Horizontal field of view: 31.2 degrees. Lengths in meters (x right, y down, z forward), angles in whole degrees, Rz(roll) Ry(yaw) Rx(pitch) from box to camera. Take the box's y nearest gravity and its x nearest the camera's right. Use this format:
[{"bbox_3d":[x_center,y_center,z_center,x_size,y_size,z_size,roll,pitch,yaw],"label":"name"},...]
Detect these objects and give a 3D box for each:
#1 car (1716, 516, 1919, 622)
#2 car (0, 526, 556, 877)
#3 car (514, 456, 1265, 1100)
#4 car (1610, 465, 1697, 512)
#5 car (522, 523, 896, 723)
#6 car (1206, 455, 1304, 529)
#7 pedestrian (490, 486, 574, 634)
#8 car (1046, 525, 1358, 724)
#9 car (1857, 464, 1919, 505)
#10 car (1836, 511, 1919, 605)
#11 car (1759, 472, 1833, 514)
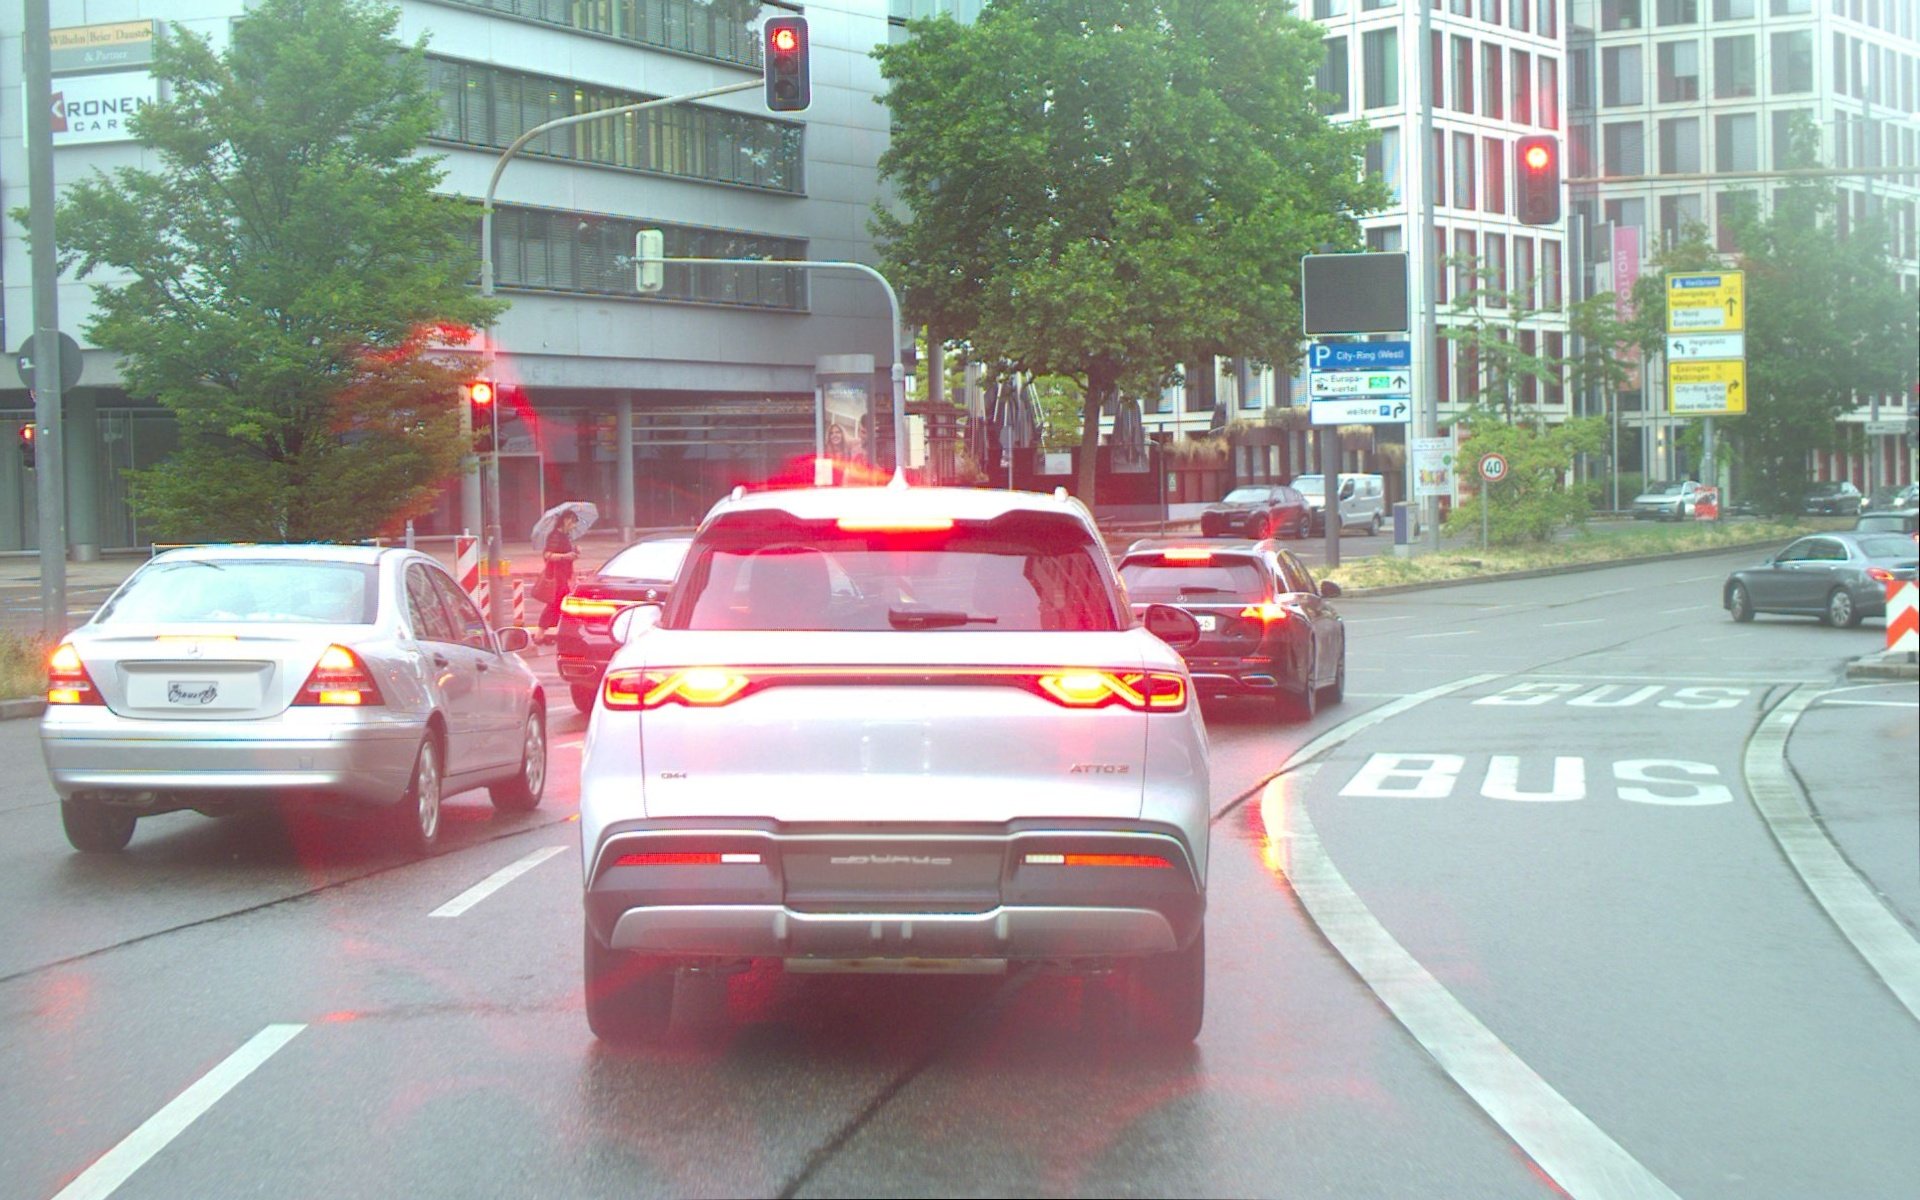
[{"bbox_3d":[13.531,-0.504,52.690,1.909,1.505,4.358,0,2,-16],"label":"car"},{"bbox_3d":[-3.214,0.396,16.913,1.682,1.481,4.196,0,2,4],"label":"car"},{"bbox_3d":[-0.217,0.416,11.424,1.993,1.703,4.483,0,2,-1],"label":"car"},{"bbox_3d":[26.471,-4.270,131.223,1.997,1.700,4.302,1,4,30],"label":"car"},{"bbox_3d":[-1.992,0.127,28.512,1.956,1.525,3.998,0,1,14],"label":"car"},{"bbox_3d":[8.859,-3.212,103.041,1.739,2.154,4.489,1,2,21],"label":"car"},{"bbox_3d":[-5.093,-0.480,40.930,0.922,1.732,0.730,0,1,-2],"label":"pedestrian"},{"bbox_3d":[2.103,0.145,28.789,1.956,1.525,3.998,0,1,14],"label":"car"},{"bbox_3d":[40.183,-4.981,148.051,1.997,1.700,3.994,1,4,30],"label":"car"},{"bbox_3d":[18.453,-0.848,67.113,2.049,1.759,4.352,2,2,22],"label":"car"},{"bbox_3d":[36.361,-4.670,149.480,1.997,1.700,4.302,1,4,30],"label":"car"}]
